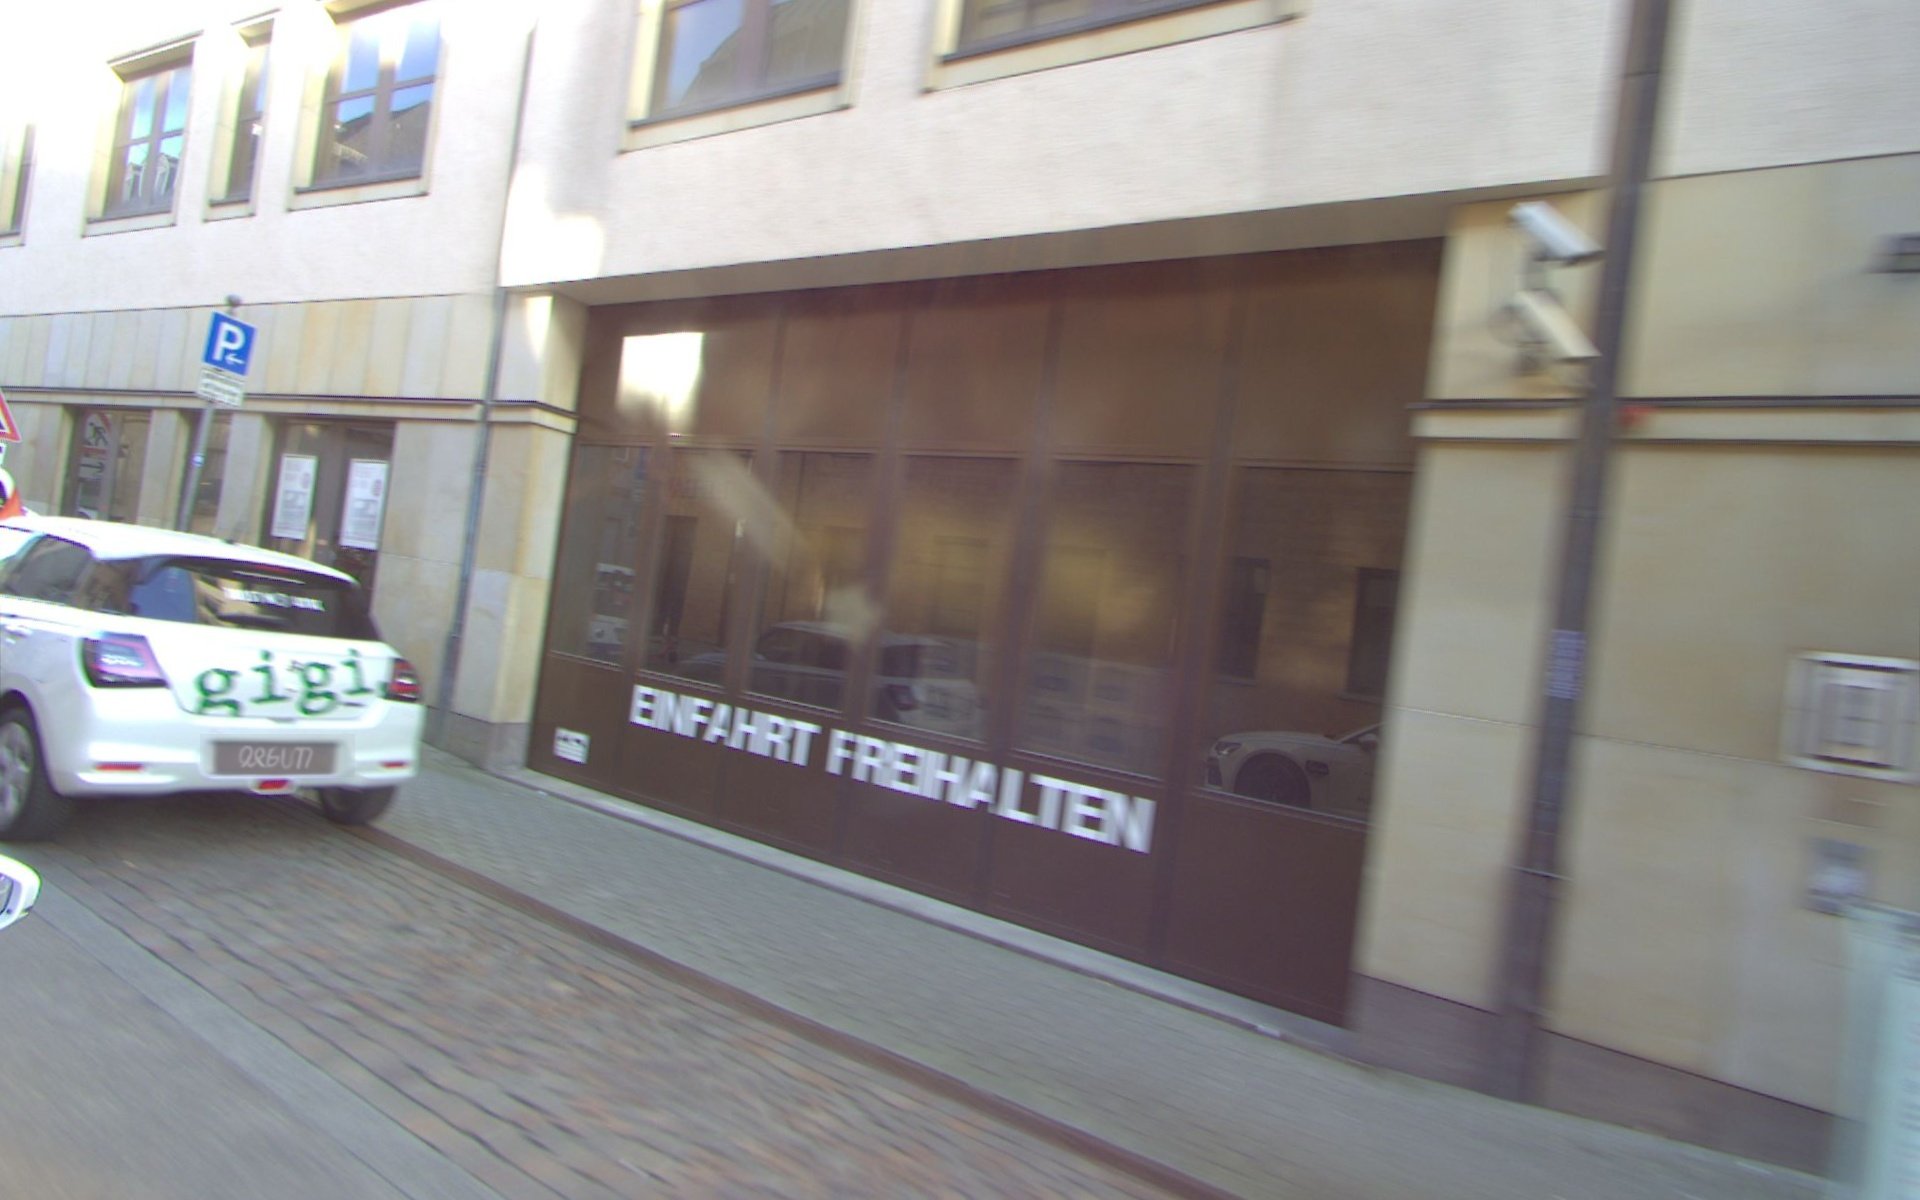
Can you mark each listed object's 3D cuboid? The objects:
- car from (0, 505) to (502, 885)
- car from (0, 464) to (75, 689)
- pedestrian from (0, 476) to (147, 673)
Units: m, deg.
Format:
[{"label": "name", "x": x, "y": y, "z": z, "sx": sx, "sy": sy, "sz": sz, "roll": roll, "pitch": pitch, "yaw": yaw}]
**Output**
[{"label": "car", "x": -4.940, "y": 0.320, "z": 5.930, "sx": 4.096, "sy": 1.493, "sz": 1.847, "roll": 7, "pitch": -4, "yaw": 29}, {"label": "car", "x": -10.278, "y": -0.519, "z": 8.972, "sx": 5.125, "sy": 1.811, "sz": 1.836, "roll": 7, "pitch": -3, "yaw": 30}, {"label": "pedestrian", "x": -9.319, "y": -0.258, "z": 10.271, "sx": 1.178, "sy": 1.822, "sz": 1.044, "roll": 7, "pitch": -1, "yaw": 29}]
